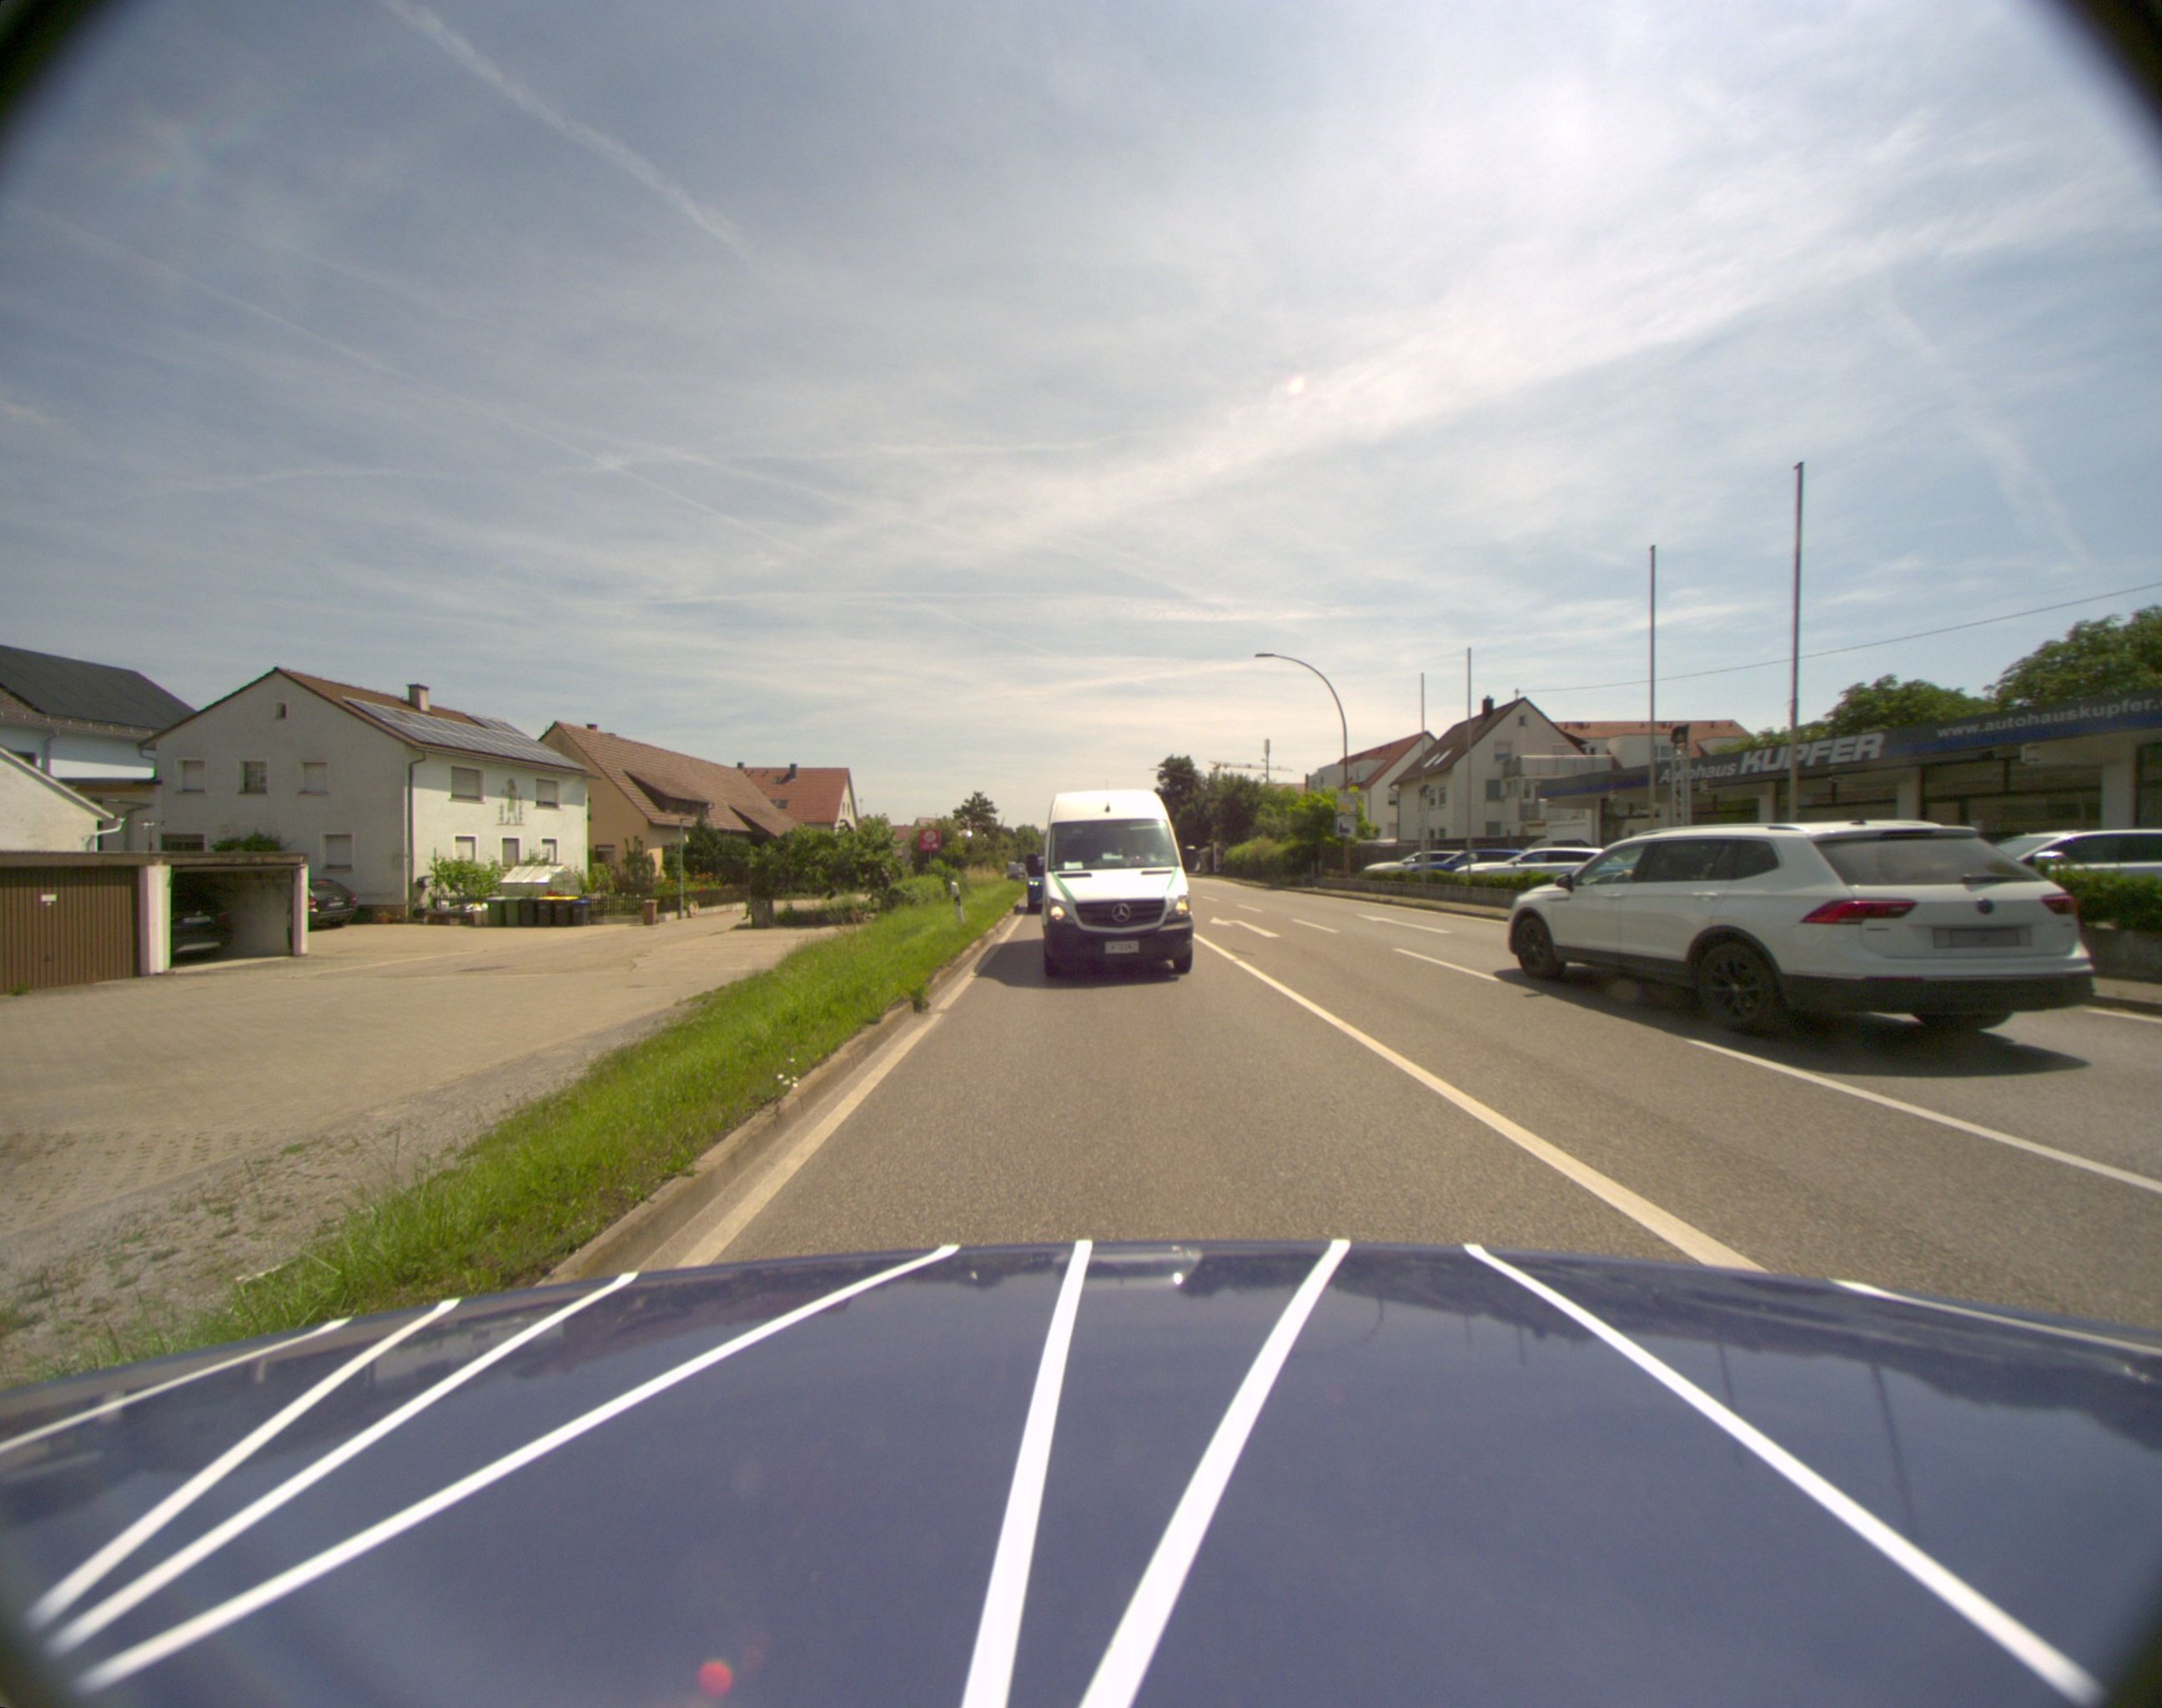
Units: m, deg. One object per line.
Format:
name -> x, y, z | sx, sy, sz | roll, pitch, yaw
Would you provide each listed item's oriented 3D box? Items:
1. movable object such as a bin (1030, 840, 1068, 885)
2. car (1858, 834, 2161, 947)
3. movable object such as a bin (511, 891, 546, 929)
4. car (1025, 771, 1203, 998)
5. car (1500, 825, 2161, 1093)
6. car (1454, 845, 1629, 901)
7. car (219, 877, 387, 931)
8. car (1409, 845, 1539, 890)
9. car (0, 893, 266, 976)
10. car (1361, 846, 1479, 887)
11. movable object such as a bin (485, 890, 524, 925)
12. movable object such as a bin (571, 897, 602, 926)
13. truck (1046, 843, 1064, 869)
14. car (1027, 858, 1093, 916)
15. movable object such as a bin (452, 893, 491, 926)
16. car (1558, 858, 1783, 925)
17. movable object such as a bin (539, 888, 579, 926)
movable object such as a bin -> -1.994, 0.509, 48.989 | 1.998, 2.710, 5.419 | -2, 0, 2
car -> 14.358, 0.475, 10.742 | 4.329, 1.451, 1.858 | -2, 0, 25
movable object such as a bin -> -20.886, 2.109, 28.745 | 0.678, 1.330, 0.820 | -2, 0, 0
car -> 0.389, 0.370, 11.701 | 1.977, 2.583, 5.634 | -2, 0, 0
car -> 5.999, 0.681, 7.057 | 1.850, 1.645, 4.404 | -2, 0, 2
car -> 13.715, 0.569, 22.938 | 4.303, 1.510, 2.003 | -2, 0, 28
car -> -27.292, 1.729, 26.745 | 3.997, 1.724, 1.828 | 0, 1, 0
car -> 14.007, 0.492, 27.255 | 3.990, 1.455, 2.003 | -2, 0, 27
car -> -21.391, 1.767, 17.170 | 3.997, 1.594, 1.826 | -2, 0, 1
car -> 13.910, 0.509, 31.198 | 4.255, 1.521, 2.003 | -2, 0, 27
movable object such as a bin -> -21.808, 2.028, 28.750 | 0.745, 1.239, 0.889 | -2, 0, 0
movable object such as a bin -> -18.542, 2.145, 28.509 | 0.645, 1.021, 0.756 | -2, 0, 0
truck -> -4.046, 0.309, 119.329 | 2.506, 3.847, 5.497 | -2, 0, -1
car -> -0.599, 0.943, 23.371 | 1.824, 1.574, 3.901 | -1, 0, 0
movable object such as a bin -> -22.809, 2.068, 28.441 | 0.740, 1.149, 0.830 | -2, 0, 0
car -> 14.105, 0.912, 18.503 | 3.990, 1.433, 1.857 | -2, 0, 26
movable object such as a bin -> -19.553, 1.975, 28.474 | 0.765, 1.362, 0.946 | -2, 0, 0
